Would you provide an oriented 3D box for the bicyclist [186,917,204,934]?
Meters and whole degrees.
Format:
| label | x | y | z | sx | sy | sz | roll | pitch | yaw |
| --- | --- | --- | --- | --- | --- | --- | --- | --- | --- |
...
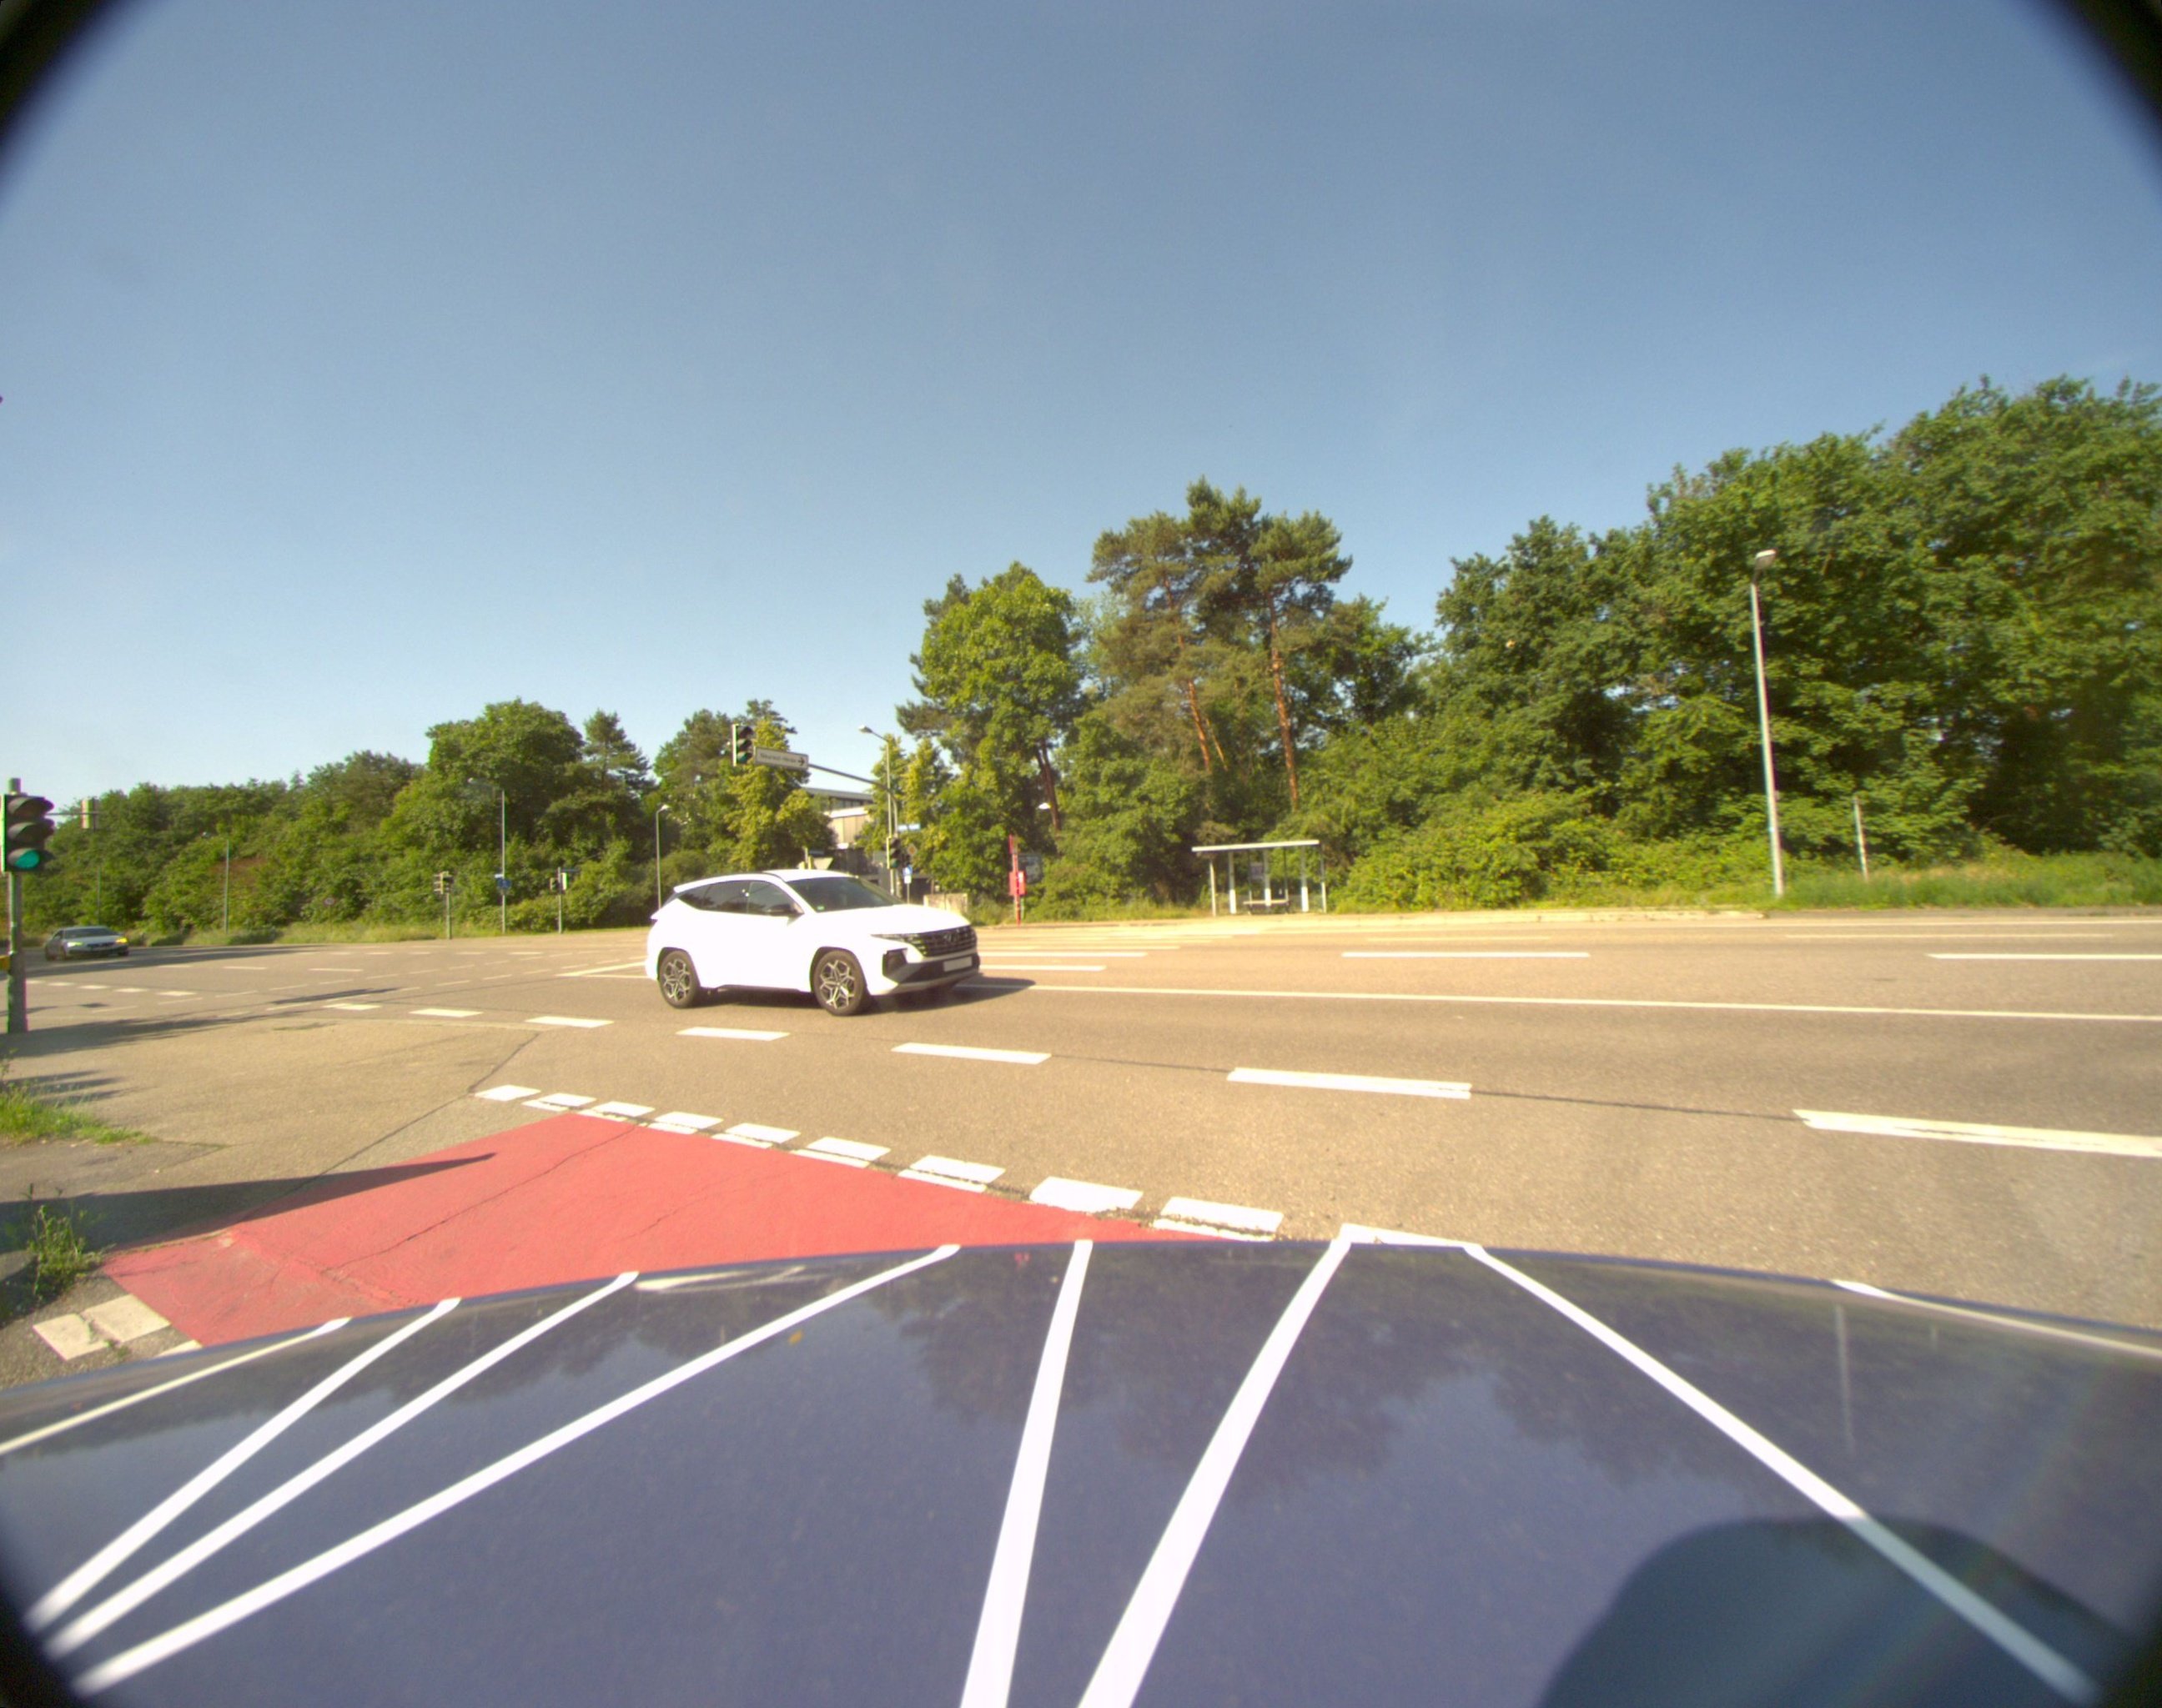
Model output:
| label | x | y | z | sx | sy | sz | roll | pitch | yaw |
| --- | --- | --- | --- | --- | --- | --- | --- | --- | --- |
| bicyclist | -72.826 | 5.880 | 62.431 | 0.881 | 1.303 | 0.725 | -3 | -2 | 26 |

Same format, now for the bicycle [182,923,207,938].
| label | x | y | z | sx | sy | sz | roll | pitch | yaw |
| --- | --- | --- | --- | --- | --- | --- | --- | --- | --- |
| bicycle | -72.843 | 6.291 | 62.447 | 2.367 | 1.156 | 0.736 | -3 | -2 | 26 |

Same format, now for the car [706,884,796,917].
| label | x | y | z | sx | sy | sz | roll | pitch | yaw |
| --- | --- | --- | --- | --- | --- | --- | --- | --- | --- |
| car | -19.184 | 2.697 | 44.384 | 1.848 | 1.766 | 4.671 | -3 | -3 | 28 |

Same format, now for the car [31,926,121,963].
| label | x | y | z | sx | sy | sz | roll | pitch | yaw |
| --- | --- | --- | --- | --- | --- | --- | --- | --- | --- |
| car | -46.390 | 4.169 | 35.054 | 4.412 | 1.416 | 1.793 | -4 | 0 | 28 |

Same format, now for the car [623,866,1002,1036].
| label | x | y | z | sx | sy | sz | roll | pitch | yaw |
| --- | --- | --- | --- | --- | --- | --- | --- | --- | --- |
| car | -3.335 | 1.100 | 9.348 | 4.297 | 1.638 | 1.817 | -3 | 0 | 26 |
